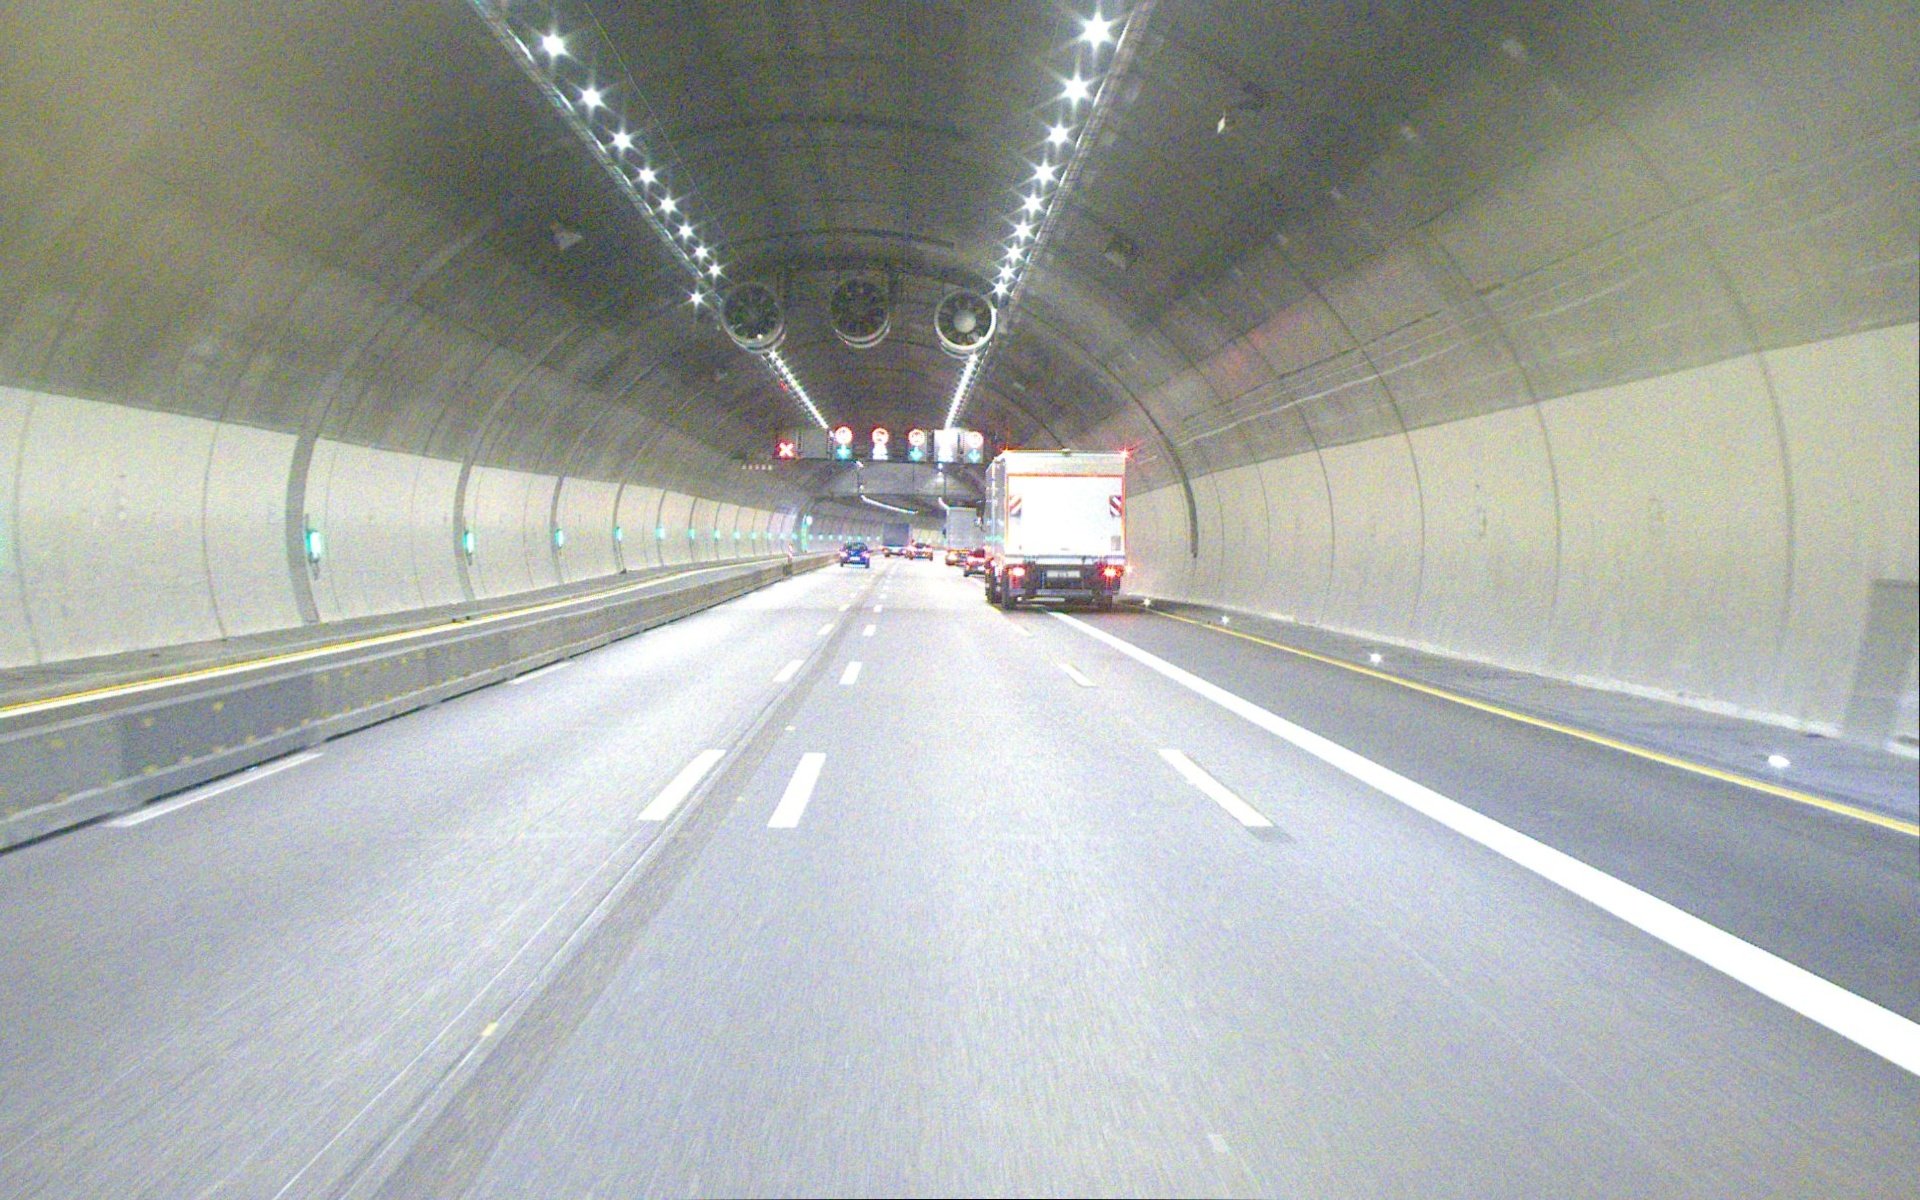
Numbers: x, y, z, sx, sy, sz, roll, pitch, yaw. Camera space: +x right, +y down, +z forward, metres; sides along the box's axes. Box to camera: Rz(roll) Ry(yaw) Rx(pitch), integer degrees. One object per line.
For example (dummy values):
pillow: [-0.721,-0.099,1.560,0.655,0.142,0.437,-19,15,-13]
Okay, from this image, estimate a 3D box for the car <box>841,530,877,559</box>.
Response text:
car: [-5.377,-2.972,183.762,1.758,1.456,4.119,2,2,0]

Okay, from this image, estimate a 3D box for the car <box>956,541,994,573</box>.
car: [0.749,-2.076,165.487,1.739,1.456,3.960,2,2,1]

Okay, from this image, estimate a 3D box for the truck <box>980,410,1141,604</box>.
truck: [2.115,-1.954,76.482,3.092,3.904,10.368,2,0,0]

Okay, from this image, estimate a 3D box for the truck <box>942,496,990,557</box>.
truck: [0.469,-5.043,238.770,3.066,3.904,10.367,2,0,1]
